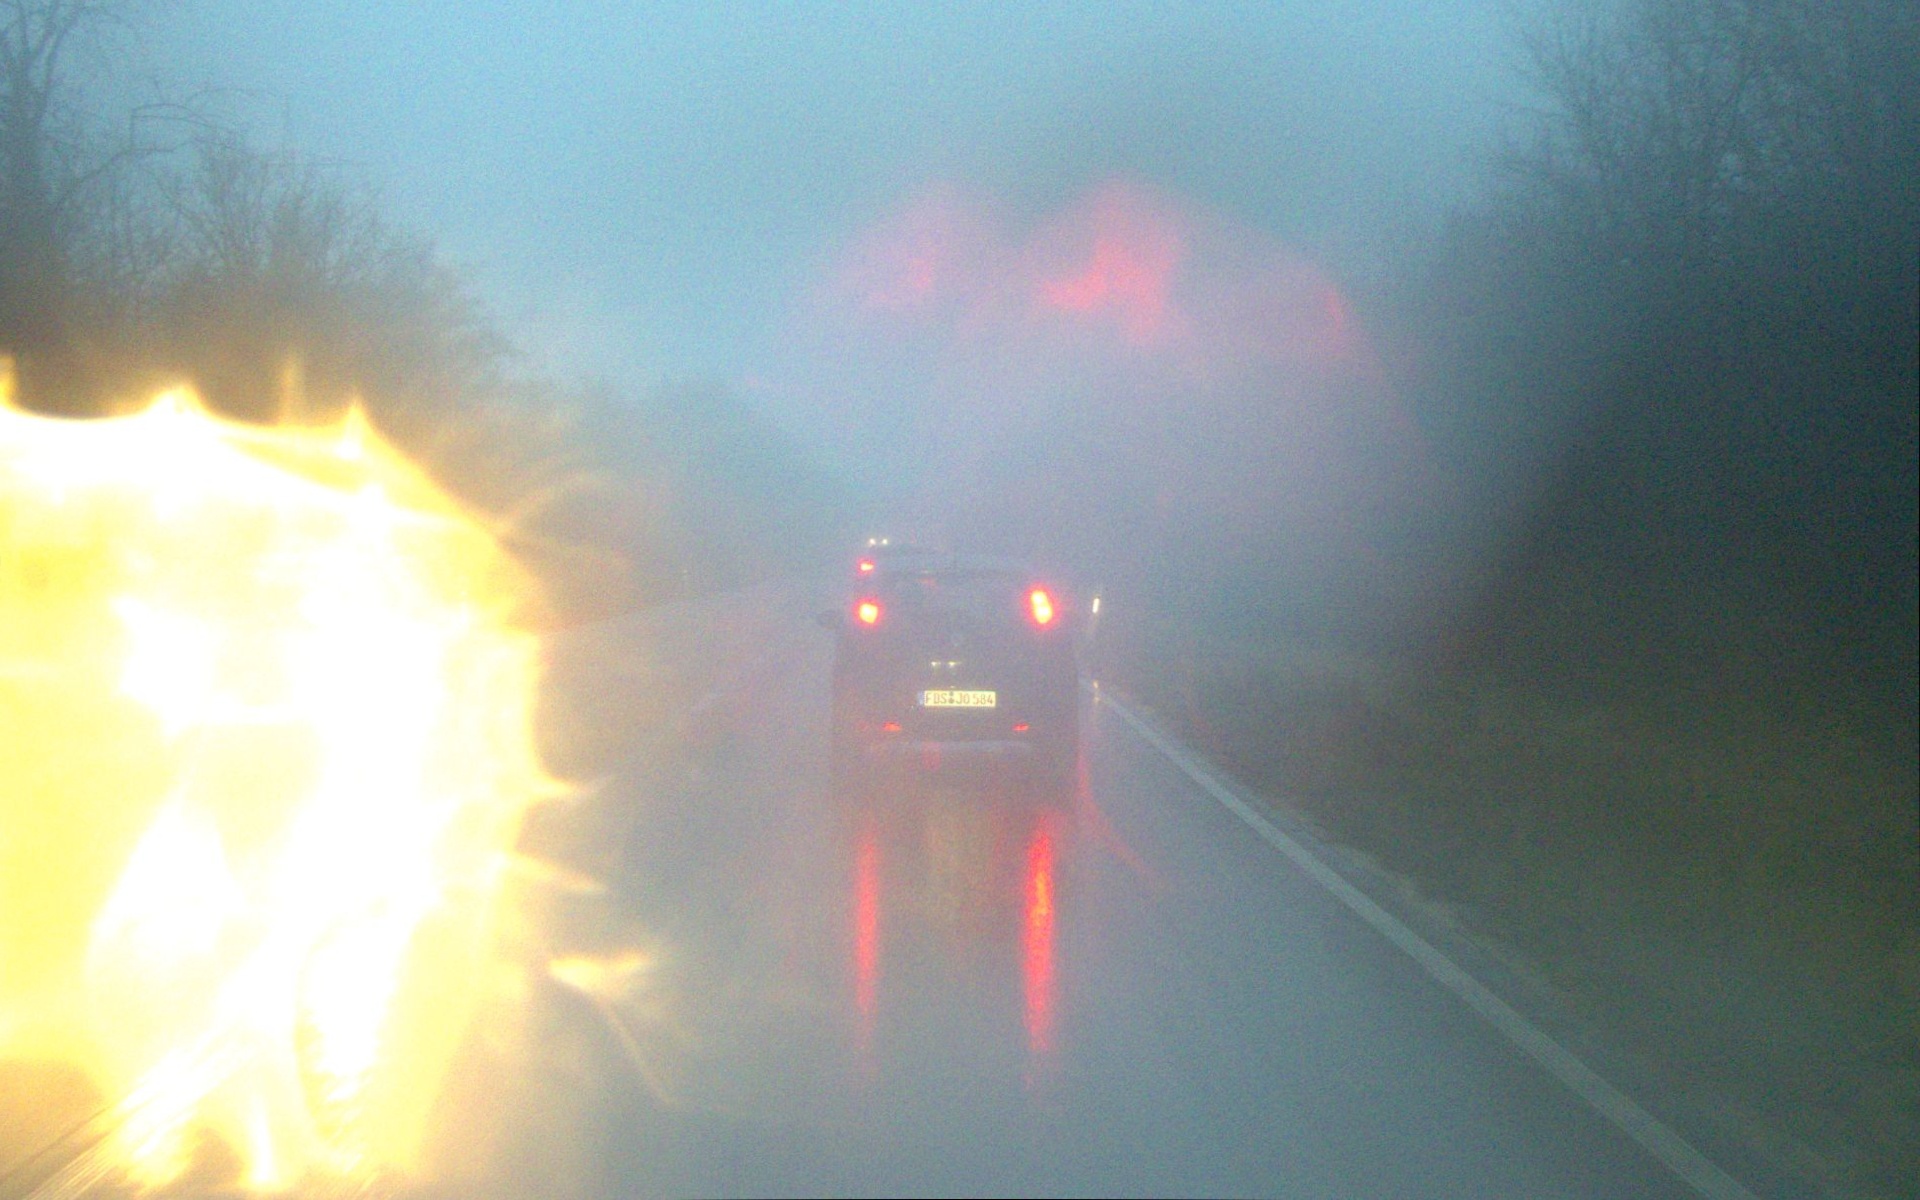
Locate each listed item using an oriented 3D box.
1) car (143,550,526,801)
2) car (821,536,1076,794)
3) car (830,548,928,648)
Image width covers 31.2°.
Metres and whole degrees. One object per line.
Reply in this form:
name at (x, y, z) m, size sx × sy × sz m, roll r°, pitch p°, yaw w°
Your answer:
car at (-4.204, 0.423, 23.971) m, size 1.698 × 1.490 × 5.665 m, roll 1°, pitch 1°, yaw -1°
car at (-0.100, 0.404, 24.303) m, size 1.648 × 1.666 × 3.514 m, roll 1°, pitch 1°, yaw -1°
car at (-1.492, -0.063, 63.760) m, size 1.733 × 1.773 × 4.000 m, roll 1°, pitch 1°, yaw -1°
